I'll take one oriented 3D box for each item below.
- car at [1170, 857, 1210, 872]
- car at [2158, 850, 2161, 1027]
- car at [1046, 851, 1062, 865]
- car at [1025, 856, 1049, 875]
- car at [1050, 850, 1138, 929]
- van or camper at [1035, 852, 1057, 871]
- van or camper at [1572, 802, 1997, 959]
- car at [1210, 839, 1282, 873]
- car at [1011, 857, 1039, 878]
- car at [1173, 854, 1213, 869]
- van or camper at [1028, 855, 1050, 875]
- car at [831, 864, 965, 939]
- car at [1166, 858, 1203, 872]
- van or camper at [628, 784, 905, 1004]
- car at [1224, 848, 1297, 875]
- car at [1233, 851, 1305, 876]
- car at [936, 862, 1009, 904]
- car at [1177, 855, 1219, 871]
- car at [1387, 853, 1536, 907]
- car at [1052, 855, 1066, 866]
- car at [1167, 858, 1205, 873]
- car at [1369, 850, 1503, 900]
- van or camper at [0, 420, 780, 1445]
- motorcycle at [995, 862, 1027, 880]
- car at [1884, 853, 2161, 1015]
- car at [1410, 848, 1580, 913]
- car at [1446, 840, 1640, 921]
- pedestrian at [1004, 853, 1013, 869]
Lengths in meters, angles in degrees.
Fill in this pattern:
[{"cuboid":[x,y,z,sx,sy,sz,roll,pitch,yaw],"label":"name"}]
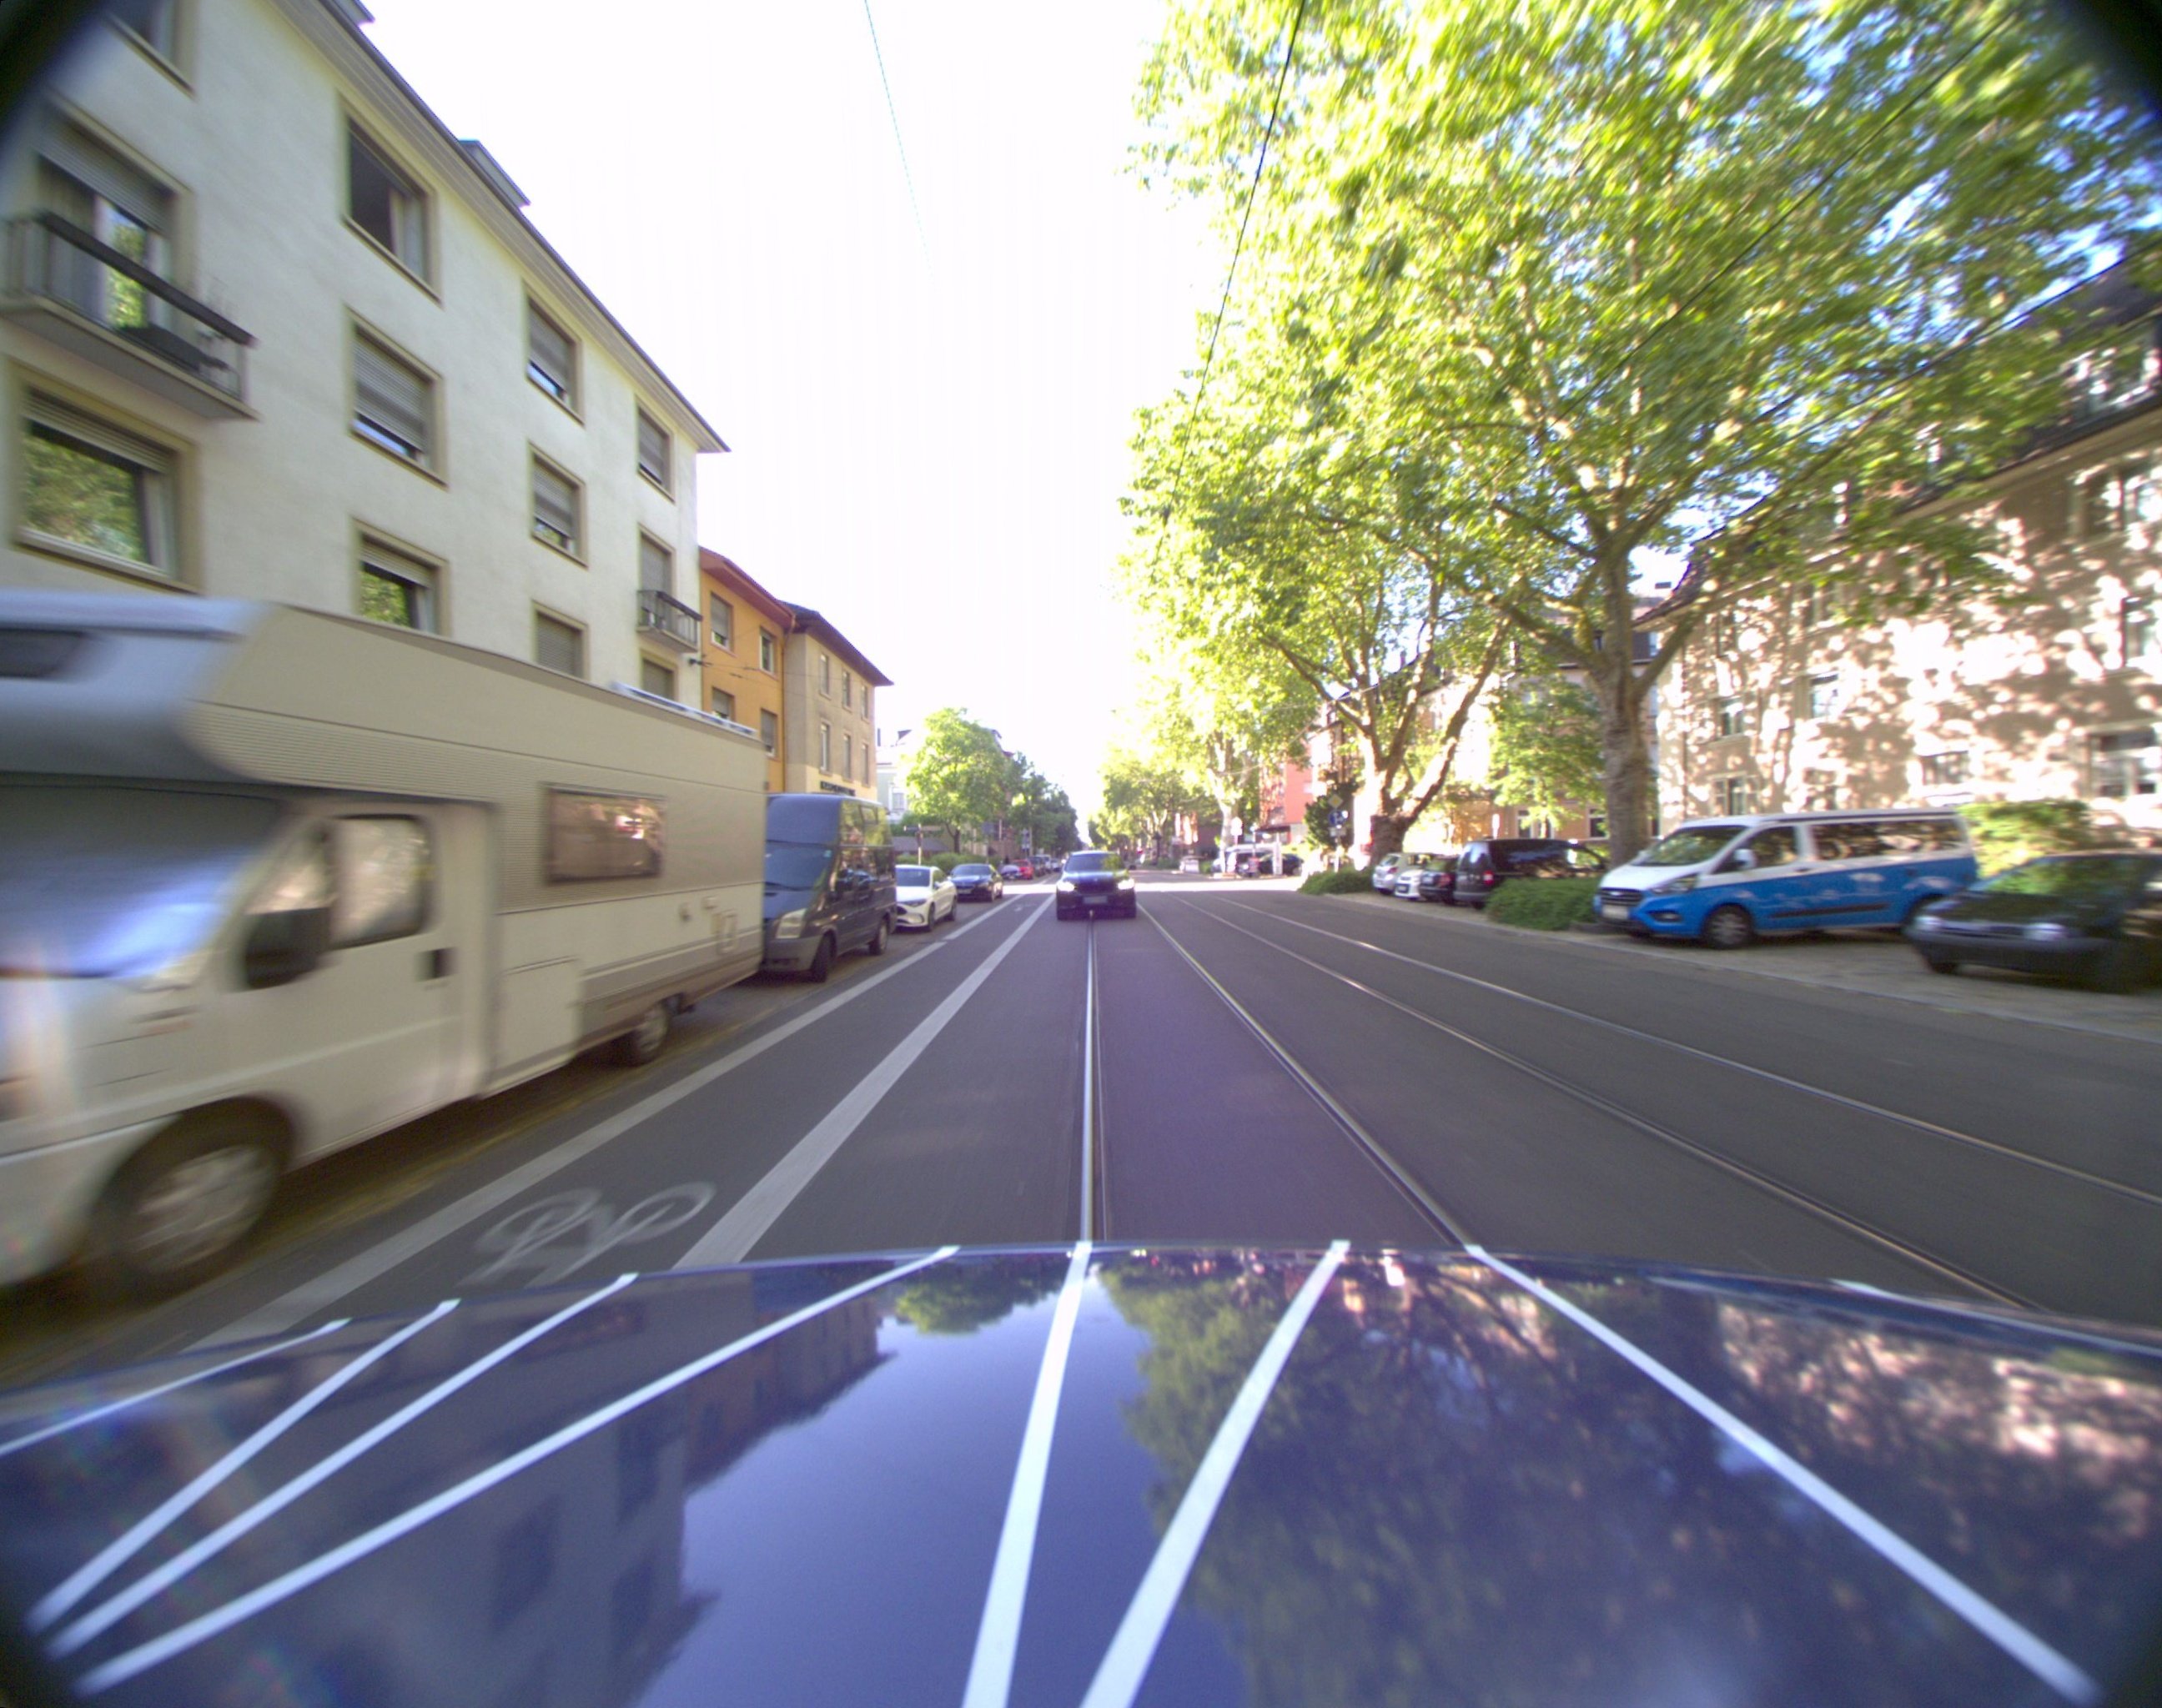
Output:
[{"cuboid":[11.778,1.102,82.377,3.966,1.506,1.810,-1,0,-1],"label":"car"},{"cuboid":[11.281,0.698,5.797,3.690,1.556,1.613,-1,0,2],"label":"car"},{"cuboid":[-3.317,0.485,94.351,1.815,1.701,4.372,1,0,1],"label":"car"},{"cuboid":[-3.714,0.922,64.264,1.694,1.478,4.143,1,0,1],"label":"car"},{"cuboid":[0.321,0.791,19.466,1.924,1.741,4.806,-1,0,1],"label":"car"},{"cuboid":[-3.601,0.764,78.712,1.882,1.873,4.923,1,0,1],"label":"van or camper"},{"cuboid":[10.972,0.391,12.171,4.831,2.177,2.119,-1,0,0],"label":"van or camper"},{"cuboid":[12.547,0.163,57.950,5.019,2.383,2.028,-1,0,-1],"label":"car"},{"cuboid":[-4.017,0.947,54.953,1.607,1.372,3.864,1,0,1],"label":"car"},{"cuboid":[11.802,0.768,80.381,3.966,1.506,1.810,-1,0,-1],"label":"car"},{"cuboid":[-3.780,0.975,69.002,1.694,1.772,4.443,1,0,1],"label":"van or camper"},{"cuboid":[-4.256,1.046,18.543,1.998,1.485,4.740,1,0,1],"label":"car"},{"cuboid":[11.824,1.268,87.053,3.966,1.506,1.810,-1,0,-1],"label":"car"},{"cuboid":[-4.415,0.484,11.755,2.137,2.647,4.979,1,0,1],"label":"van or camper"},{"cuboid":[12.272,0.510,52.085,4.464,1.755,2.028,-1,0,-1],"label":"car"},{"cuboid":[12.194,0.622,49.433,4.170,1.506,1.925,-1,0,-1],"label":"car"},{"cuboid":[-3.992,1.039,28.781,1.998,1.372,4.739,1,0,1],"label":"car"},{"cuboid":[11.823,0.873,76.921,3.966,1.506,1.810,-1,0,-1],"label":"car"},{"cuboid":[11.511,0.767,23.108,3.693,1.477,1.701,-1,0,-5],"label":"car"},{"cuboid":[-3.145,0.861,108.820,1.781,1.490,4.372,1,0,1],"label":"car"},{"cuboid":[11.670,1.271,84.593,3.966,1.506,1.810,-1,0,-1],"label":"car"},{"cuboid":[11.848,0.686,25.547,3.689,1.545,1.704,-1,0,7],"label":"car"},{"cuboid":[-4.453,0.215,4.963,2.468,3.046,6.267,1,0,0],"label":"van or camper"},{"cuboid":[-4.732,1.128,51.427,2.071,1.152,0.828,2,1,5],"label":"motorcycle"},{"cuboid":[11.287,0.763,8.260,3.540,1.451,1.695,-1,0,-5],"label":"car"},{"cuboid":[11.340,0.691,20.965,3.692,1.615,1.799,-1,0,-4],"label":"car"},{"cuboid":[11.217,0.618,18.616,3.691,1.804,1.704,-1,0,1],"label":"car"},{"cuboid":[-7.543,0.709,78.819,0.813,1.668,0.885,-1,1,1],"label":"pedestrian"}]
